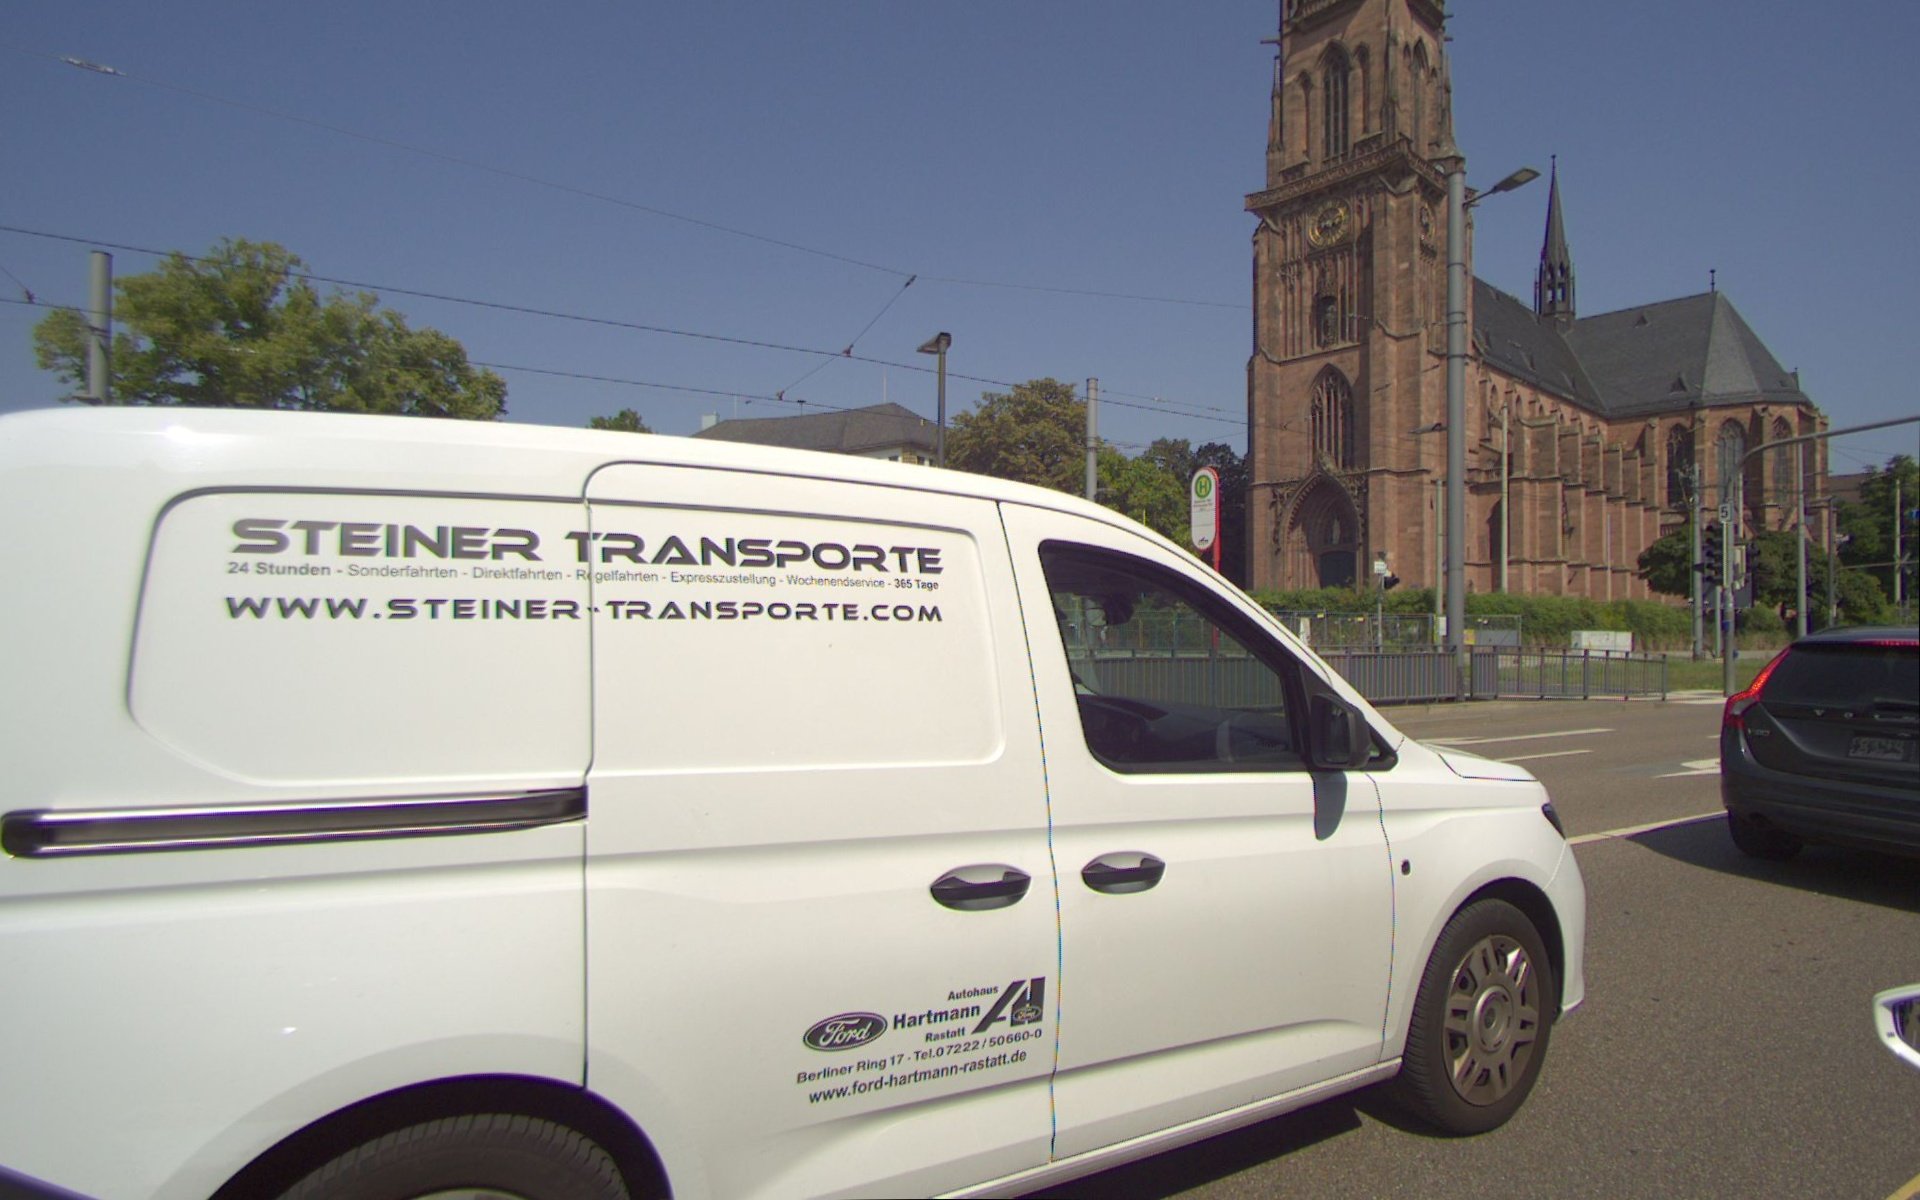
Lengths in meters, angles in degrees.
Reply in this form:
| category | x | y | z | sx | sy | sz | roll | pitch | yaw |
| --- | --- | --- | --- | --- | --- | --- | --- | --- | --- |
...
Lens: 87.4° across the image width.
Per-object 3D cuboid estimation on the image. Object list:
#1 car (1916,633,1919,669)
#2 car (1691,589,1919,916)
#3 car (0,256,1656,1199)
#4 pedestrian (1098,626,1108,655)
| category | x | y | z | sx | sy | sz | roll | pitch | yaw |
| --- | --- | --- | --- | --- | --- | --- | --- | --- | --- |
| car | 38.985 | 2.025 | 39.553 | 1.727 | 1.454 | 4.549 | -3 | -3 | 42 |
| car | 6.568 | 0.797 | 6.226 | 4.258 | 1.636 | 1.739 | 1 | 0 | -30 |
| car | -0.021 | 0.545 | 2.892 | 4.189 | 1.844 | 1.739 | 1 | -1 | -30 |
| pedestrian | 7.657 | 2.184 | 53.729 | 0.533 | 1.551 | 0.436 | 0 | -1 | 4 |
